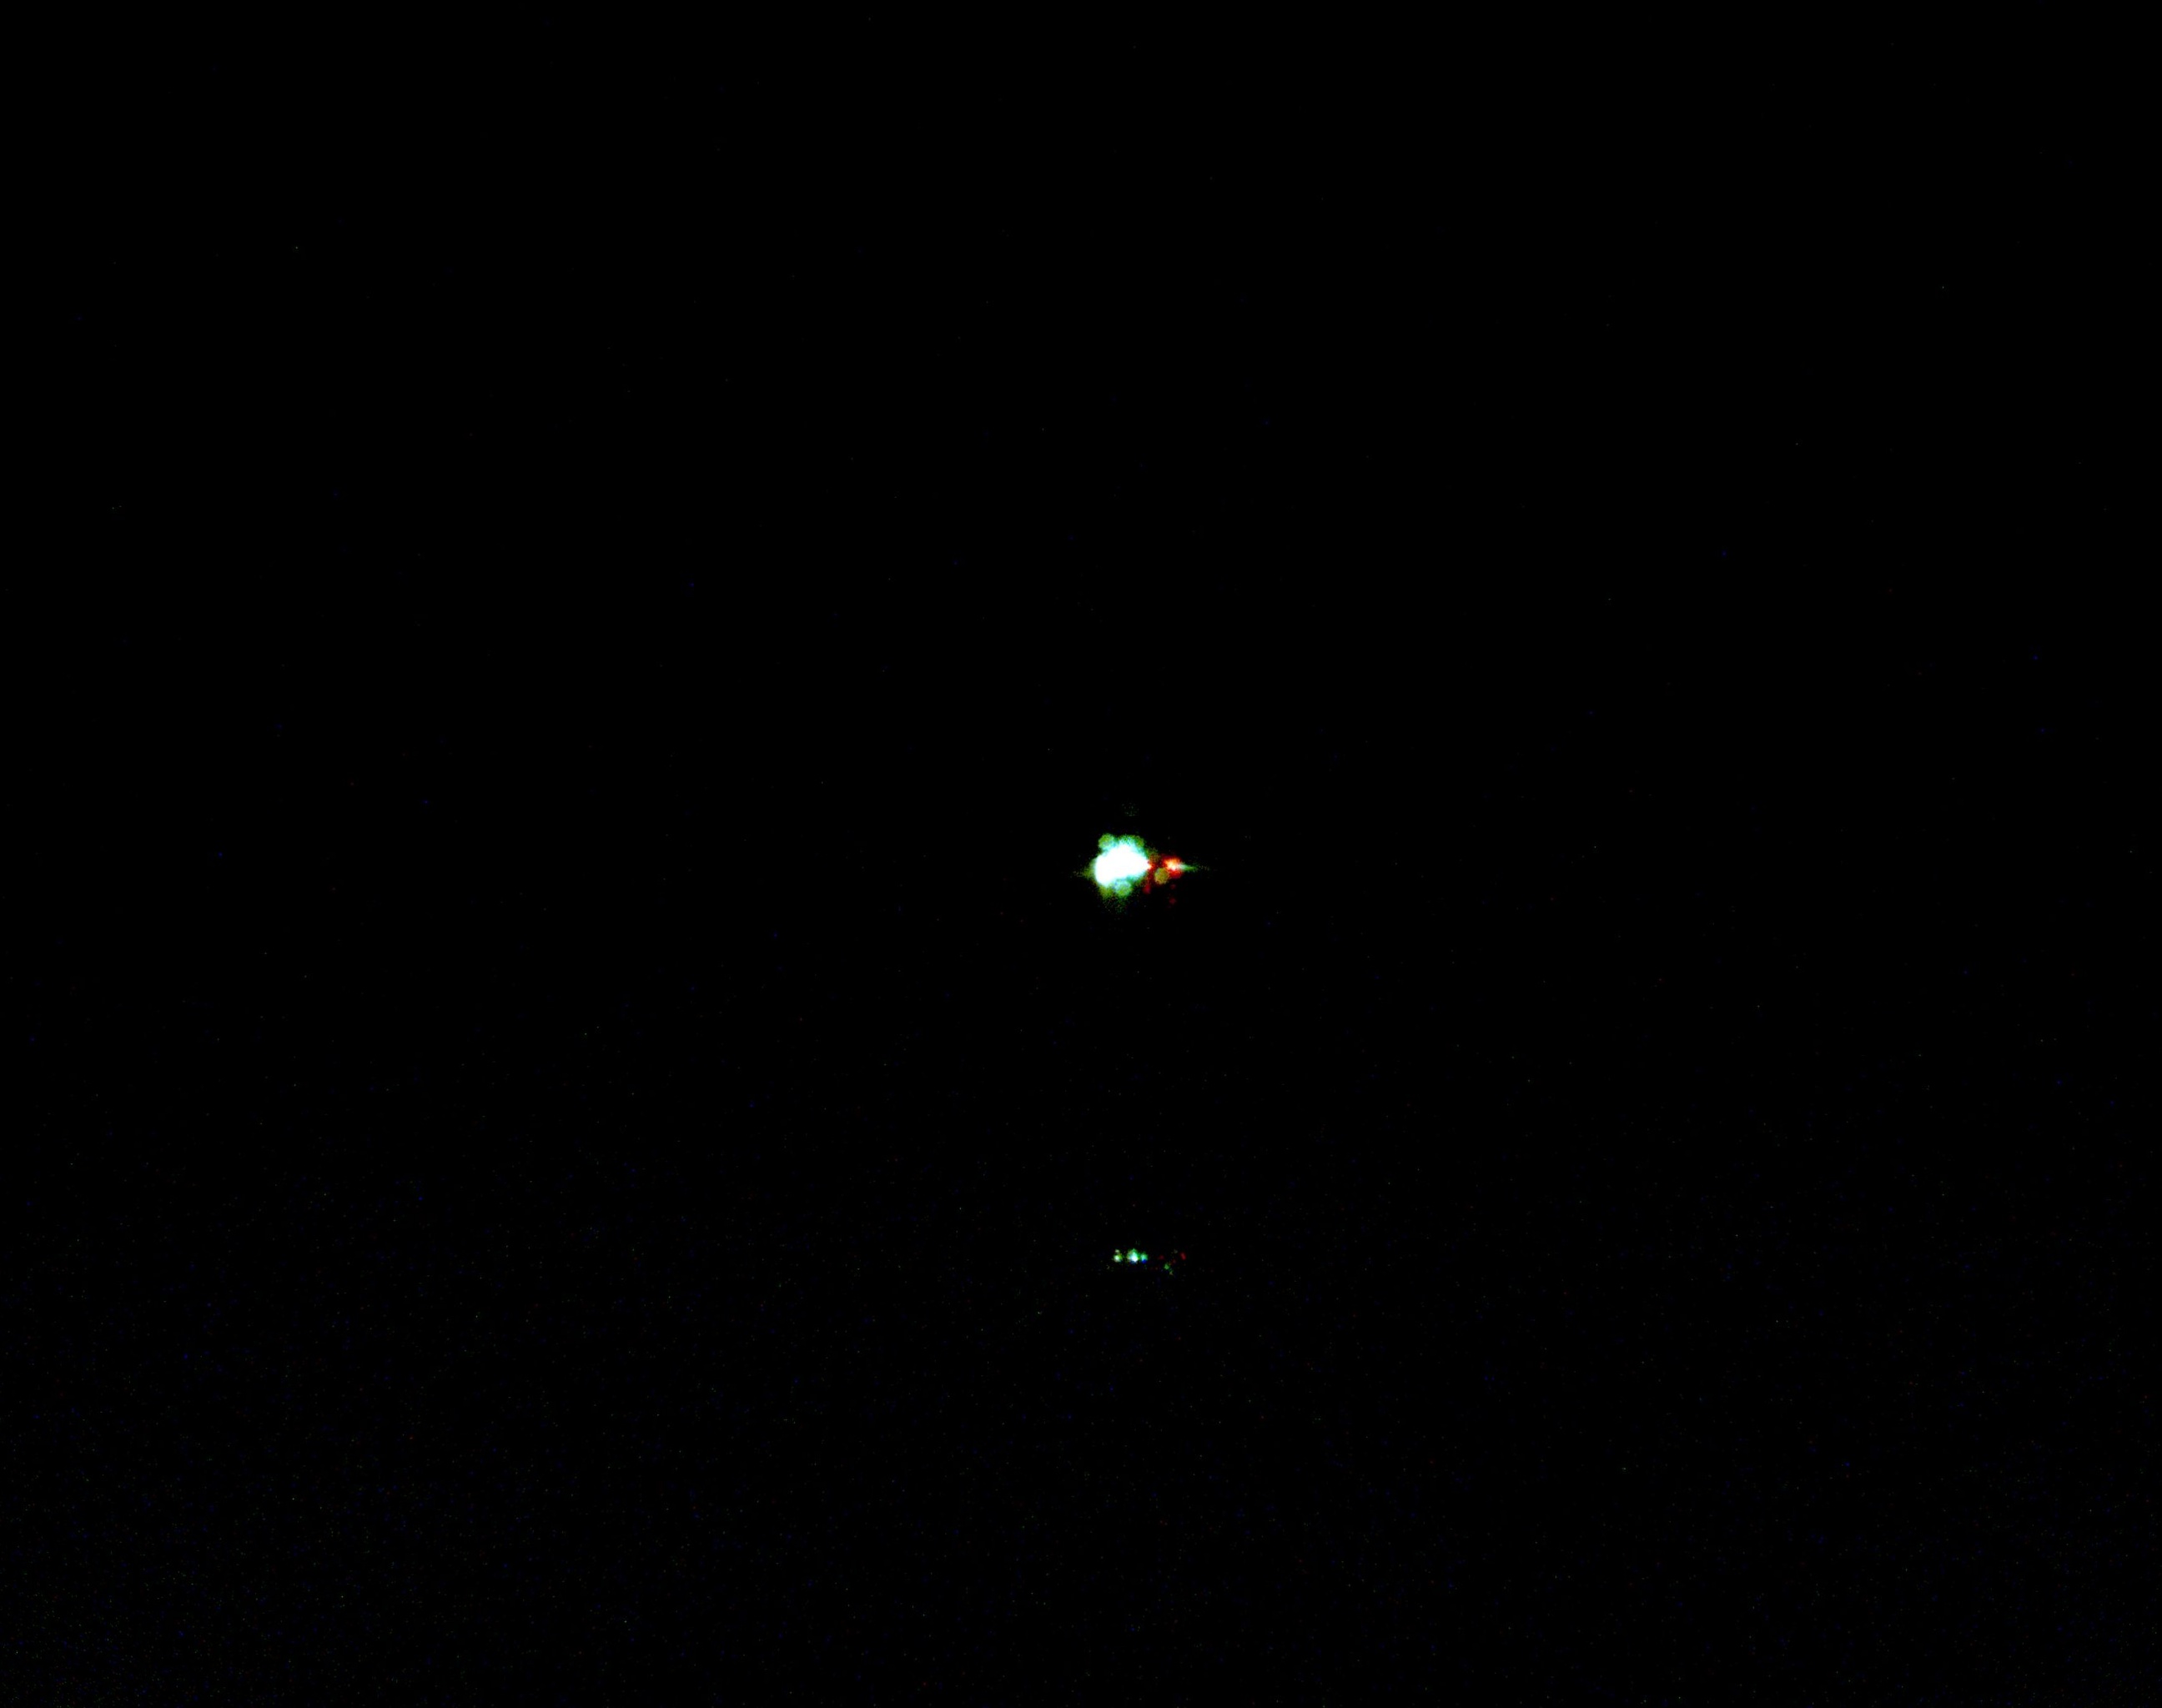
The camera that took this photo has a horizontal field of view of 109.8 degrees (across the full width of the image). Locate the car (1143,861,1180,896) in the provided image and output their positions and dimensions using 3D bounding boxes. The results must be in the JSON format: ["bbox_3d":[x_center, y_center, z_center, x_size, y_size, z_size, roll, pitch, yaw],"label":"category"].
[{"bbox_3d":[4.988,1.456,46.654,1.997,2.001,4.003,-2,-1,9],"label":"car"}]

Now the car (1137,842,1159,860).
[{"bbox_3d":[6.372,-0.248,72.492,1.930,1.565,4.349,-2,-1,4],"label":"car"}]

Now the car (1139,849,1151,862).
[{"bbox_3d":[11.294,0.236,134.739,1.998,2.259,5.469,-2,-1,4],"label":"car"}]

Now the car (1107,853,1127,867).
[{"bbox_3d":[4.144,0.673,87.269,1.877,1.578,4.891,-2,0,7],"label":"car"}]
